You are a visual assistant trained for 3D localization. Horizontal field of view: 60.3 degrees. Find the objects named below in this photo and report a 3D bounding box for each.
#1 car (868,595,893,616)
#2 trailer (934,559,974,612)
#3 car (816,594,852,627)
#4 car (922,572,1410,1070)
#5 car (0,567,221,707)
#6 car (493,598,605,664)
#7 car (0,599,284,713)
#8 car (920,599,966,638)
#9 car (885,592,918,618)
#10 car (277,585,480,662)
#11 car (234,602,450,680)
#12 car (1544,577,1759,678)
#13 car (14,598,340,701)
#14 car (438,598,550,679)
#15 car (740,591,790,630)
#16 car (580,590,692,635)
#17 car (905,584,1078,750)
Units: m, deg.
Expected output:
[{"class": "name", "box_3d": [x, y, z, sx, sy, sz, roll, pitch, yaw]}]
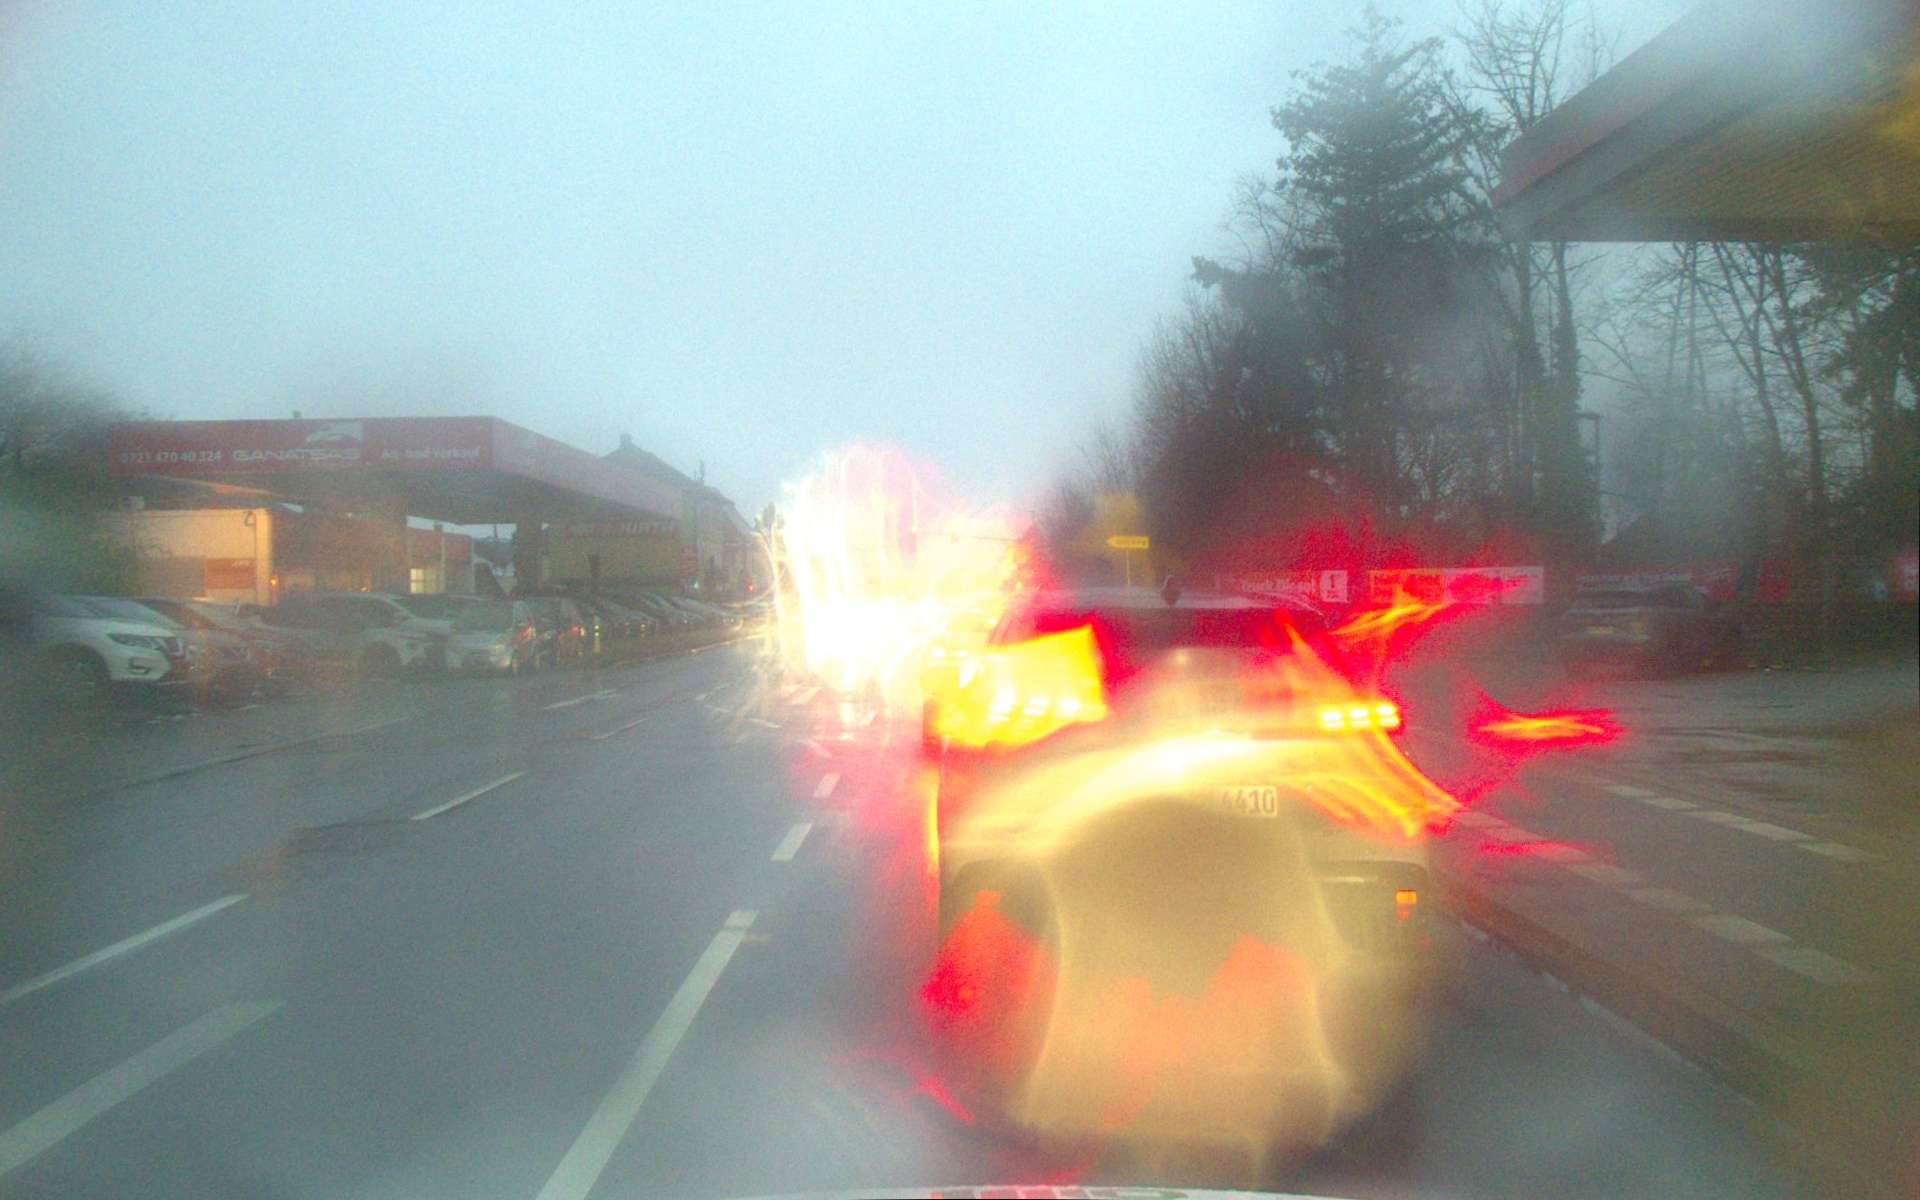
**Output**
[{"class": "car", "box_3d": [-7.255, 0.504, 151.356, 1.952, 1.777, 4.001, -2, 0, 2]}, {"class": "trailer", "box_3d": [-0.438, -0.904, 109.866, 2.437, 3.297, 10.865, 0, 0, -1]}, {"class": "car", "box_3d": [-6.422, 0.526, 84.417, 1.571, 1.561, 3.999, -3, 0, -1]}, {"class": "car", "box_3d": [0.637, 0.688, 7.206, 1.533, 1.556, 4.006, 0, 0, 0]}, {"class": "car", "box_3d": [-12.170, 0.452, 21.230, 4.446, 1.706, 2.008, 0, 0, -5]}, {"class": "car", "box_3d": [-9.618, 0.702, 38.967, 1.648, 1.445, 3.741, -1, 0, 1]}, {"class": "car", "box_3d": [-12.168, 0.765, 23.530, 4.246, 1.524, 1.995, 0, 0, 2]}, {"class": "car", "box_3d": [-0.618, 0.649, 60.822, 1.619, 1.359, 4.271, 0, 0, -1]}, {"class": "car", "box_3d": [-3.859, 0.334, 108.307, 2.007, 1.600, 4.699, -2, 0, -4]}, {"class": "car", "box_3d": [-13.376, 0.528, 38.224, 3.964, 1.679, 1.942, -1, 0, 1]}, {"class": "car", "box_3d": [-12.413, 0.810, 33.413, 3.697, 1.485, 1.775, 0, 0, -4]}, {"class": "car", "box_3d": [12.326, 0.434, 29.350, 4.450, 1.636, 1.986, -1, 0, -45]}, {"class": "car", "box_3d": [-12.285, 0.752, 26.144, 4.247, 1.524, 1.825, 0, 0, -1]}, {"class": "car", "box_3d": [-9.708, 0.770, 34.632, 1.487, 1.570, 3.014, -2, 0, -1]}, {"class": "car", "box_3d": [-9.719, 0.501, 82.731, 1.930, 1.862, 4.512, -2, 0, -1]}, {"class": "car", "box_3d": [-13.422, 0.497, 68.723, 4.189, 1.691, 2.000, 2, 0, -1]}, {"class": "car", "box_3d": [0.298, 0.644, 18.389, 1.673, 1.603, 4.464, -1, 0, 0]}]
